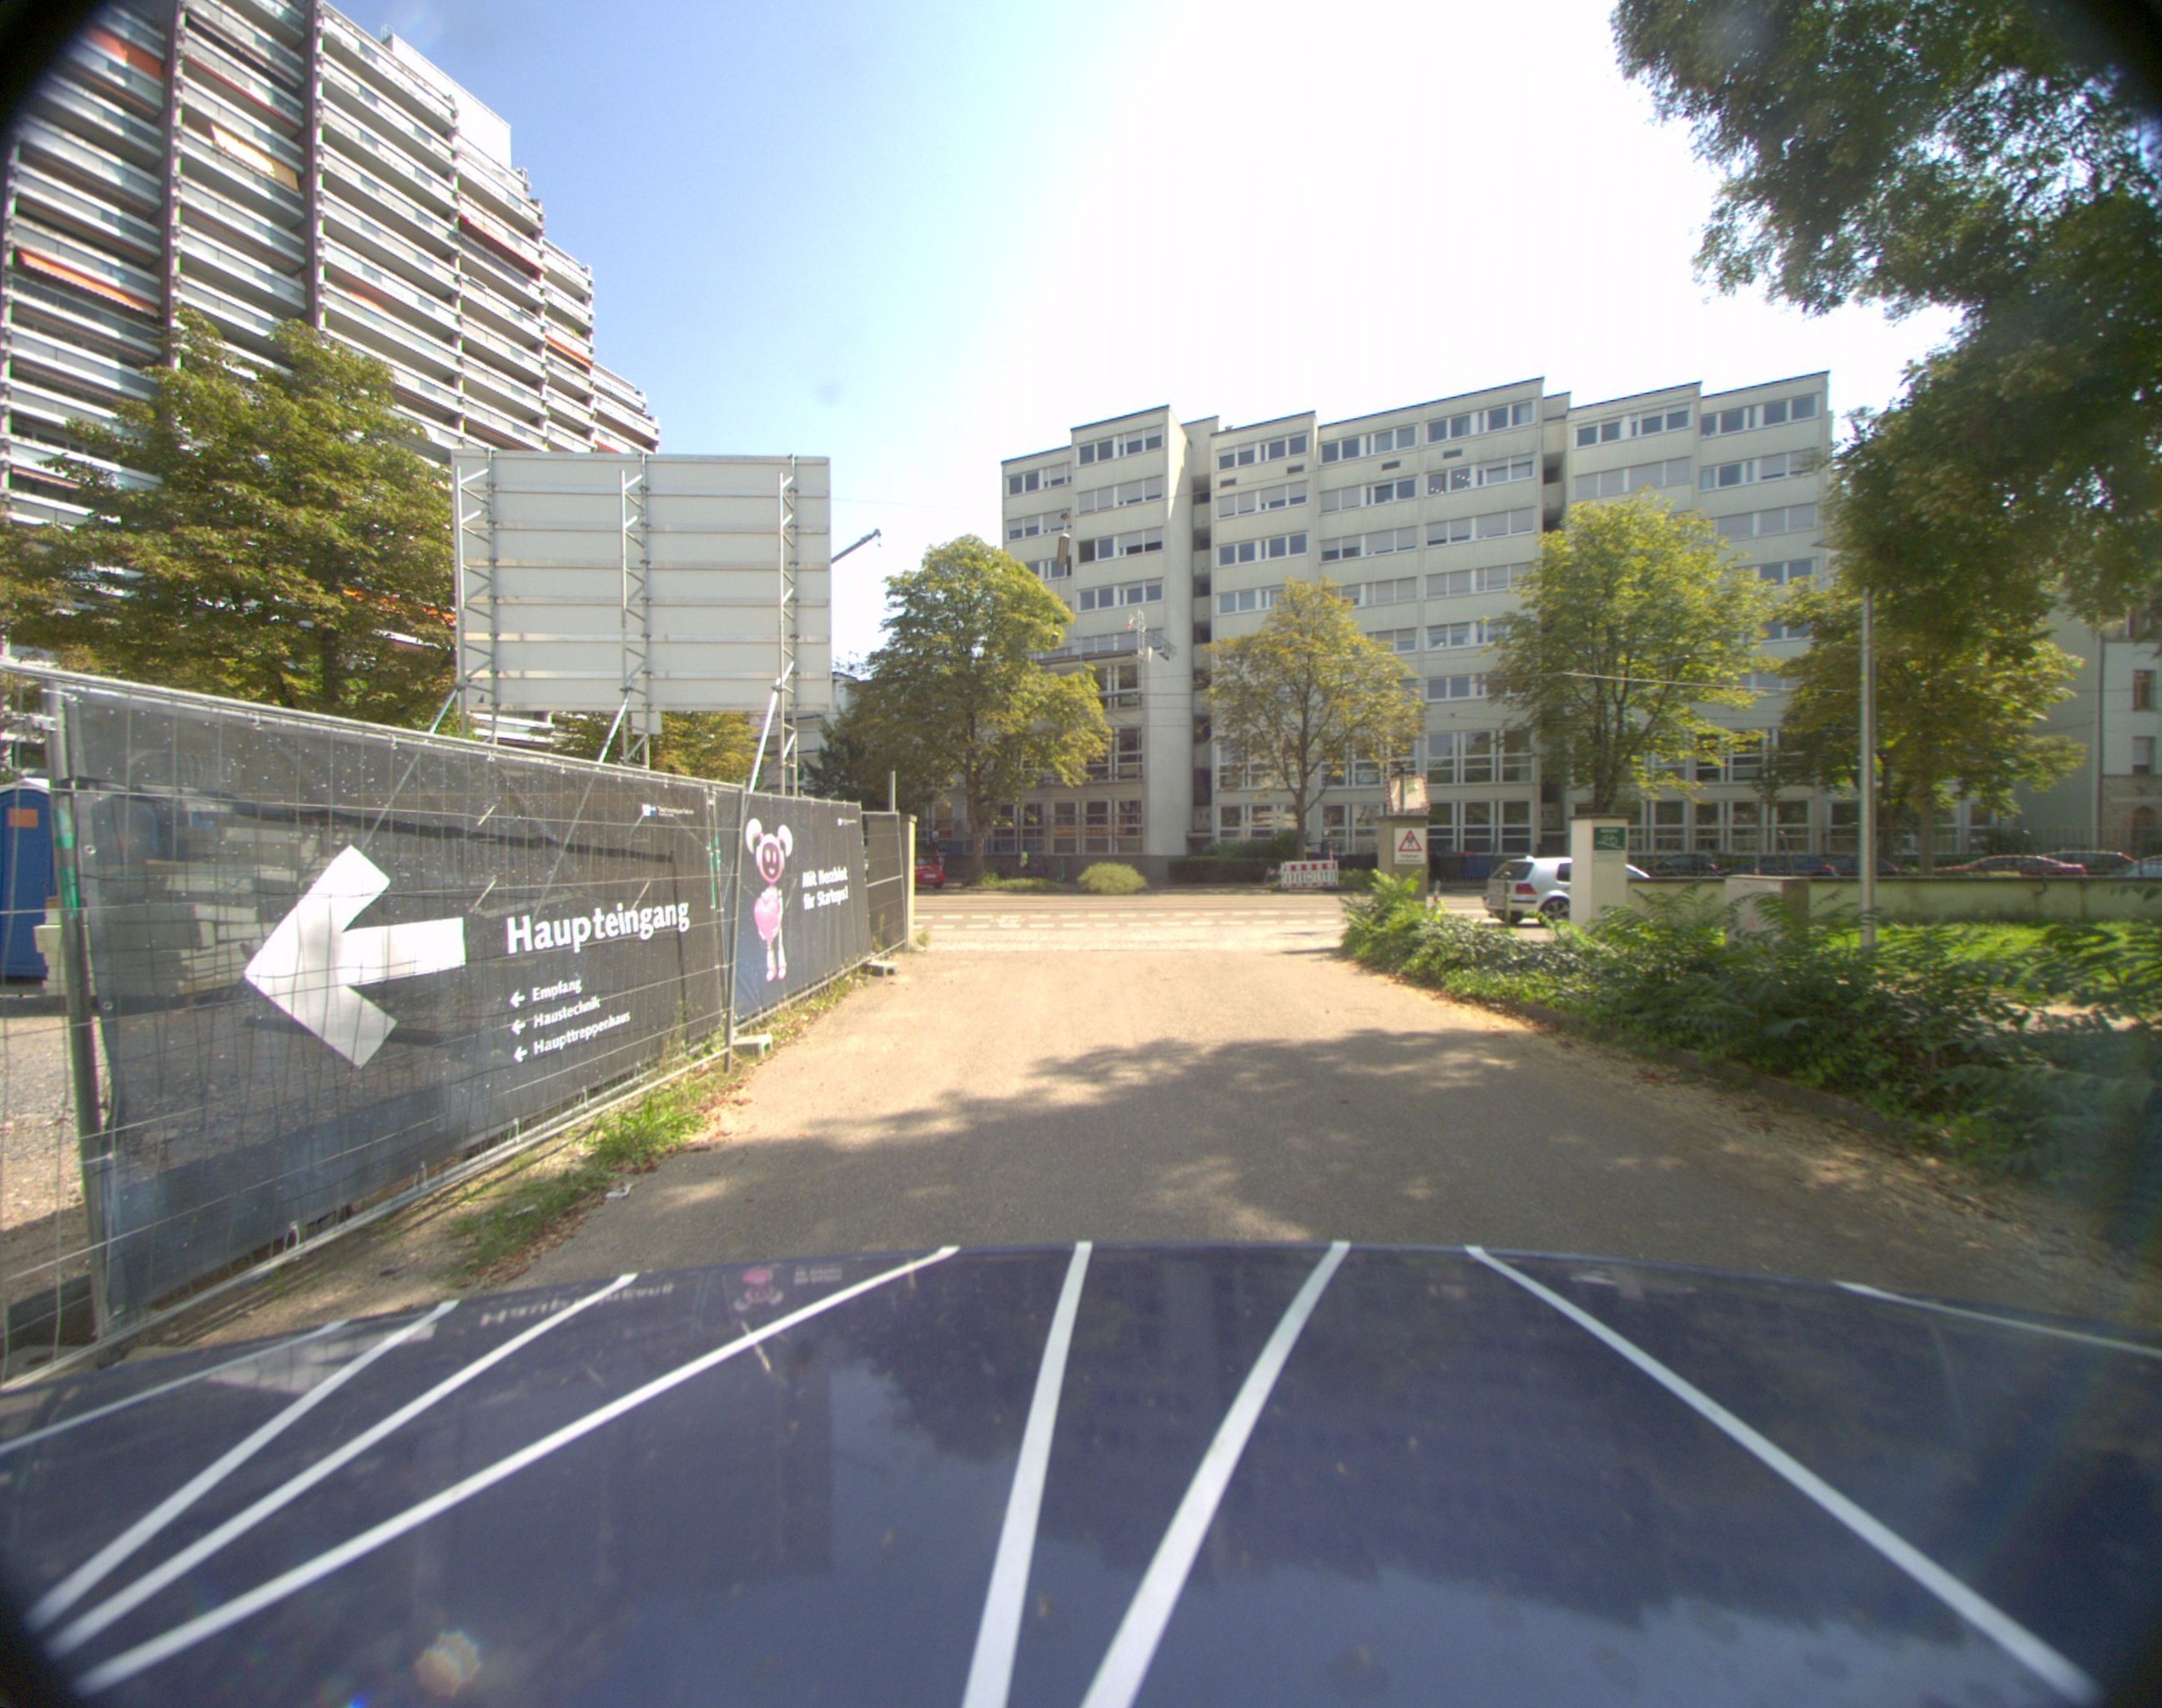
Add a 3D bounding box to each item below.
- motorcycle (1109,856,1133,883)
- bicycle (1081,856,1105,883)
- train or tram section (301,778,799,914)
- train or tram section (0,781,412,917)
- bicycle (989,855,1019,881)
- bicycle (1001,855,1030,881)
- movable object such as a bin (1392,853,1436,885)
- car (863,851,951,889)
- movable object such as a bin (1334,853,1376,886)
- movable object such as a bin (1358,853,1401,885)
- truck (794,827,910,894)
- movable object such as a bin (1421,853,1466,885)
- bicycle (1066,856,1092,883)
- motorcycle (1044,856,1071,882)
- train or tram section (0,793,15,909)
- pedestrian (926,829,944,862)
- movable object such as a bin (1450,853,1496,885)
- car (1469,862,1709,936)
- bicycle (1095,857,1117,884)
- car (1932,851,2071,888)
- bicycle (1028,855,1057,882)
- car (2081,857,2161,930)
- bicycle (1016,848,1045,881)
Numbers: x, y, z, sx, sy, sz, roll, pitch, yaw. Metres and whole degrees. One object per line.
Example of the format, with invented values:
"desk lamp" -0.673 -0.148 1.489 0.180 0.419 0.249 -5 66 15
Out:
"motorcycle" 1.920 0.717 36.596 0.694 1.176 1.847 1 2 18
"bicycle" 0.609 0.744 36.839 0.621 1.162 2.348 1 2 15
"train or tram section" -15.488 -0.268 23.075 12.404 3.683 3.507 -1 1 -2
"train or tram section" -27.935 -0.152 22.729 12.404 3.683 3.507 -1 1 -2
"bicycle" -3.846 0.696 38.244 0.600 1.153 2.348 1 2 18
"bicycle" -3.251 0.682 38.042 0.600 1.153 2.348 1 2 18
"movable object such as a bin" 16.267 0.716 37.135 1.353 1.550 1.687 0 0 -3
"car" -7.275 0.626 31.580 3.849 1.499 1.724 0 0 44
"movable object such as a bin" 13.201 0.724 36.724 1.353 1.550 1.687 0 0 -3
"movable object such as a bin" 14.617 0.720 37.241 1.353 1.550 1.687 0 0 -3
"truck" -9.287 0.236 30.442 2.155 2.420 5.952 -1 1 -41
"movable object such as a bin" 17.814 0.713 37.384 1.353 1.550 1.687 0 0 -3
"bicycle" -0.083 0.750 37.003 0.621 1.162 2.348 1 2 16
"motorcycle" -1.147 0.732 37.499 0.742 1.148 2.009 1 2 18
"train or tram section" -40.361 -0.013 22.394 12.404 3.683 3.507 -1 1 -2
"pedestrian" -8.062 -0.462 41.929 0.741 1.777 0.828 -1 1 -25
"movable object such as a bin" 19.289 0.707 37.428 1.353 1.550 1.687 0 0 -3
"car" 10.283 0.881 15.586 3.730 1.437 1.797 0 0 0
"bicycle" 1.221 0.754 36.683 0.561 1.162 2.348 1 2 15
"car" 39.269 0.625 32.562 1.680 1.443 3.660 -1 1 -44
"bicycle" -1.888 0.693 37.616 0.600 1.162 2.348 1 2 18
"car" 24.404 0.832 16.359 3.639 1.503 1.645 0 1 -2
"bicycle" -2.512 0.508 37.810 0.600 1.517 2.348 1 2 18
